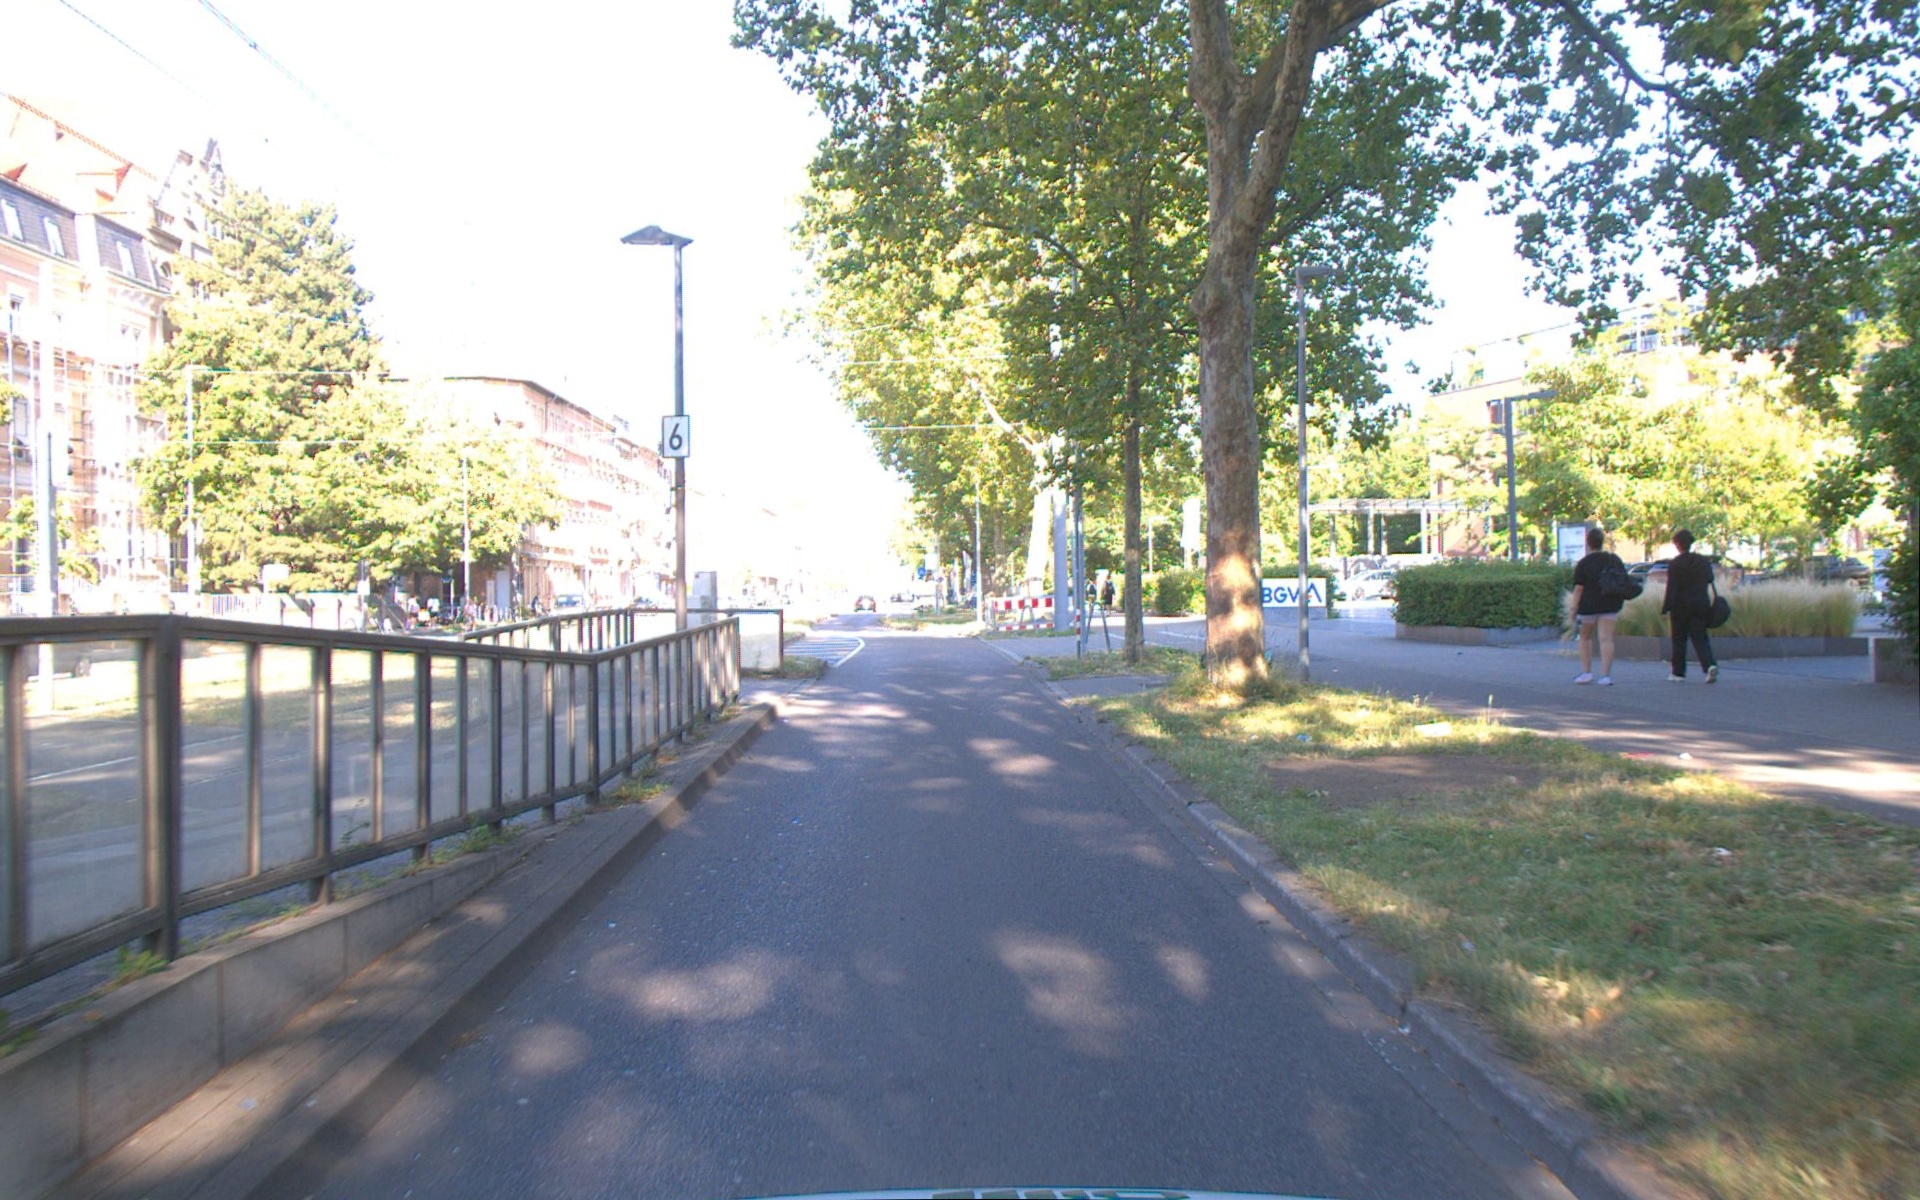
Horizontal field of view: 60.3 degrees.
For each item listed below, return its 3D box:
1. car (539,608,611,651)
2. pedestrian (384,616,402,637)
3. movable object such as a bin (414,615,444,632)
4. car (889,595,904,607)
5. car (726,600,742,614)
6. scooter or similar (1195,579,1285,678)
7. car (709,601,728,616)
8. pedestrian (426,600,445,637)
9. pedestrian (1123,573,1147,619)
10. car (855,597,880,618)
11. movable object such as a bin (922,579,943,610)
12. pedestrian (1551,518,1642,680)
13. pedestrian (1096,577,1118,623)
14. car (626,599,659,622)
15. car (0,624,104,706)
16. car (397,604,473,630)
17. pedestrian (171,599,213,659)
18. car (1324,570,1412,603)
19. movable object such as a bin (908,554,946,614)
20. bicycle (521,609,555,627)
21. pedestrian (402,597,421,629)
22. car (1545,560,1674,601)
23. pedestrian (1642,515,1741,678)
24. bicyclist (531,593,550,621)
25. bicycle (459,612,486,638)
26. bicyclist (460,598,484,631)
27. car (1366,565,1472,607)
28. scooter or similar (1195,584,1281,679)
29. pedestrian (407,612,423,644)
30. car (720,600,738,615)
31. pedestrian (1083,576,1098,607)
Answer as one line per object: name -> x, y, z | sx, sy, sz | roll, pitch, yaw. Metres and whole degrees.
car -> -19.687, 1.563, 84.834 | 1.898, 1.951, 4.476 | 5, -1, 9
pedestrian -> -26.860, 1.265, 78.377 | 0.637, 0.948, 0.584 | -2, 0, -6
movable object such as a bin -> -28.225, 1.235, 87.941 | 1.220, 0.880, 1.236 | 1, -1, -4
car -> -9.852, 0.132, 257.321 | 1.956, 1.892, 3.993 | 1, 0, -8
car -> -27.086, 0.881, 198.320 | 1.496, 1.588, 3.222 | 1, 1, -2
scooter or similar -> 3.757, 0.372, 22.243 | 1.030, 1.266, 0.841 | -2, 0, 1
car -> -27.428, 0.905, 188.006 | 1.706, 1.588, 3.766 | 1, 1, -2
pedestrian -> -26.524, 0.938, 83.576 | 0.637, 1.806, 0.888 | -2, 0, -3
pedestrian -> 7.179, -0.151, 67.902 | 0.789, 1.824, 1.109 | -2, 0, -1
car -> -7.696, 0.604, 137.789 | 1.953, 1.713, 3.999 | 1, 0, -1
movable object such as a bin -> -2.903, -0.595, 174.810 | 1.929, 3.065, 4.794 | -4, 0, -2
pedestrian -> 6.861, -0.015, 17.848 | 0.615, 1.685, 0.739 | -2, 0, -2
pedestrian -> 6.015, 0.007, 67.747 | 0.735, 1.824, 1.086 | -2, 0, -1
car -> -26.397, 0.878, 137.748 | 1.975, 1.784, 4.557 | 1, 1, -2
car -> -18.439, 1.221, 32.227 | 1.573, 1.432, 3.850 | 1, 0, -1
car -> -31.067, 0.986, 97.826 | 4.097, 1.497, 1.997 | 0, -1, 27
pedestrian -> -25.690, 0.967, 55.349 | 0.841, 1.961, 1.086 | -2, 0, -3
car -> 21.374, -0.731, 86.648 | 4.103, 1.533, 1.987 | -3, 1, -22
movable object such as a bin -> -3.102, -1.434, 152.642 | 3.025, 5.176, 8.888 | -4, 0, -2
bicycle -> -26.897, 1.151, 105.517 | 1.912, 1.058, 0.768 | -1, 6, 4
pedestrian -> -27.843, 0.654, 83.968 | 0.637, 1.566, 0.783 | -2, 0, -3
car -> 25.640, -0.782, 65.298 | 4.604, 1.407, 1.962 | -3, 1, -21
pedestrian -> 7.803, -0.037, 17.674 | 0.637, 1.685, 0.783 | -2, 0, -2
bicyclist -> -26.755, 0.443, 105.440 | 0.900, 1.744, 0.768 | -1, 6, 4
bicycle -> -22.689, 1.158, 76.954 | 0.759, 1.214, 1.755 | 1, 0, -2
bicyclist -> -22.674, 0.680, 76.897 | 0.759, 1.507, 1.133 | 1, 0, -2
car -> 21.607, -0.684, 77.854 | 4.607, 1.743, 1.836 | -3, 1, -22
scooter or similar -> 3.884, 0.438, 23.139 | 1.030, 1.266, 0.841 | -2, 0, 1
pedestrian -> -28.586, 1.458, 86.712 | 0.605, 1.621, 0.797 | 1, 0, -3
car -> -26.952, 0.883, 192.779 | 1.706, 1.588, 3.766 | 1, 1, -2
pedestrian -> 6.822, -0.428, 86.378 | 0.637, 1.566, 0.783 | -2, 0, -2
